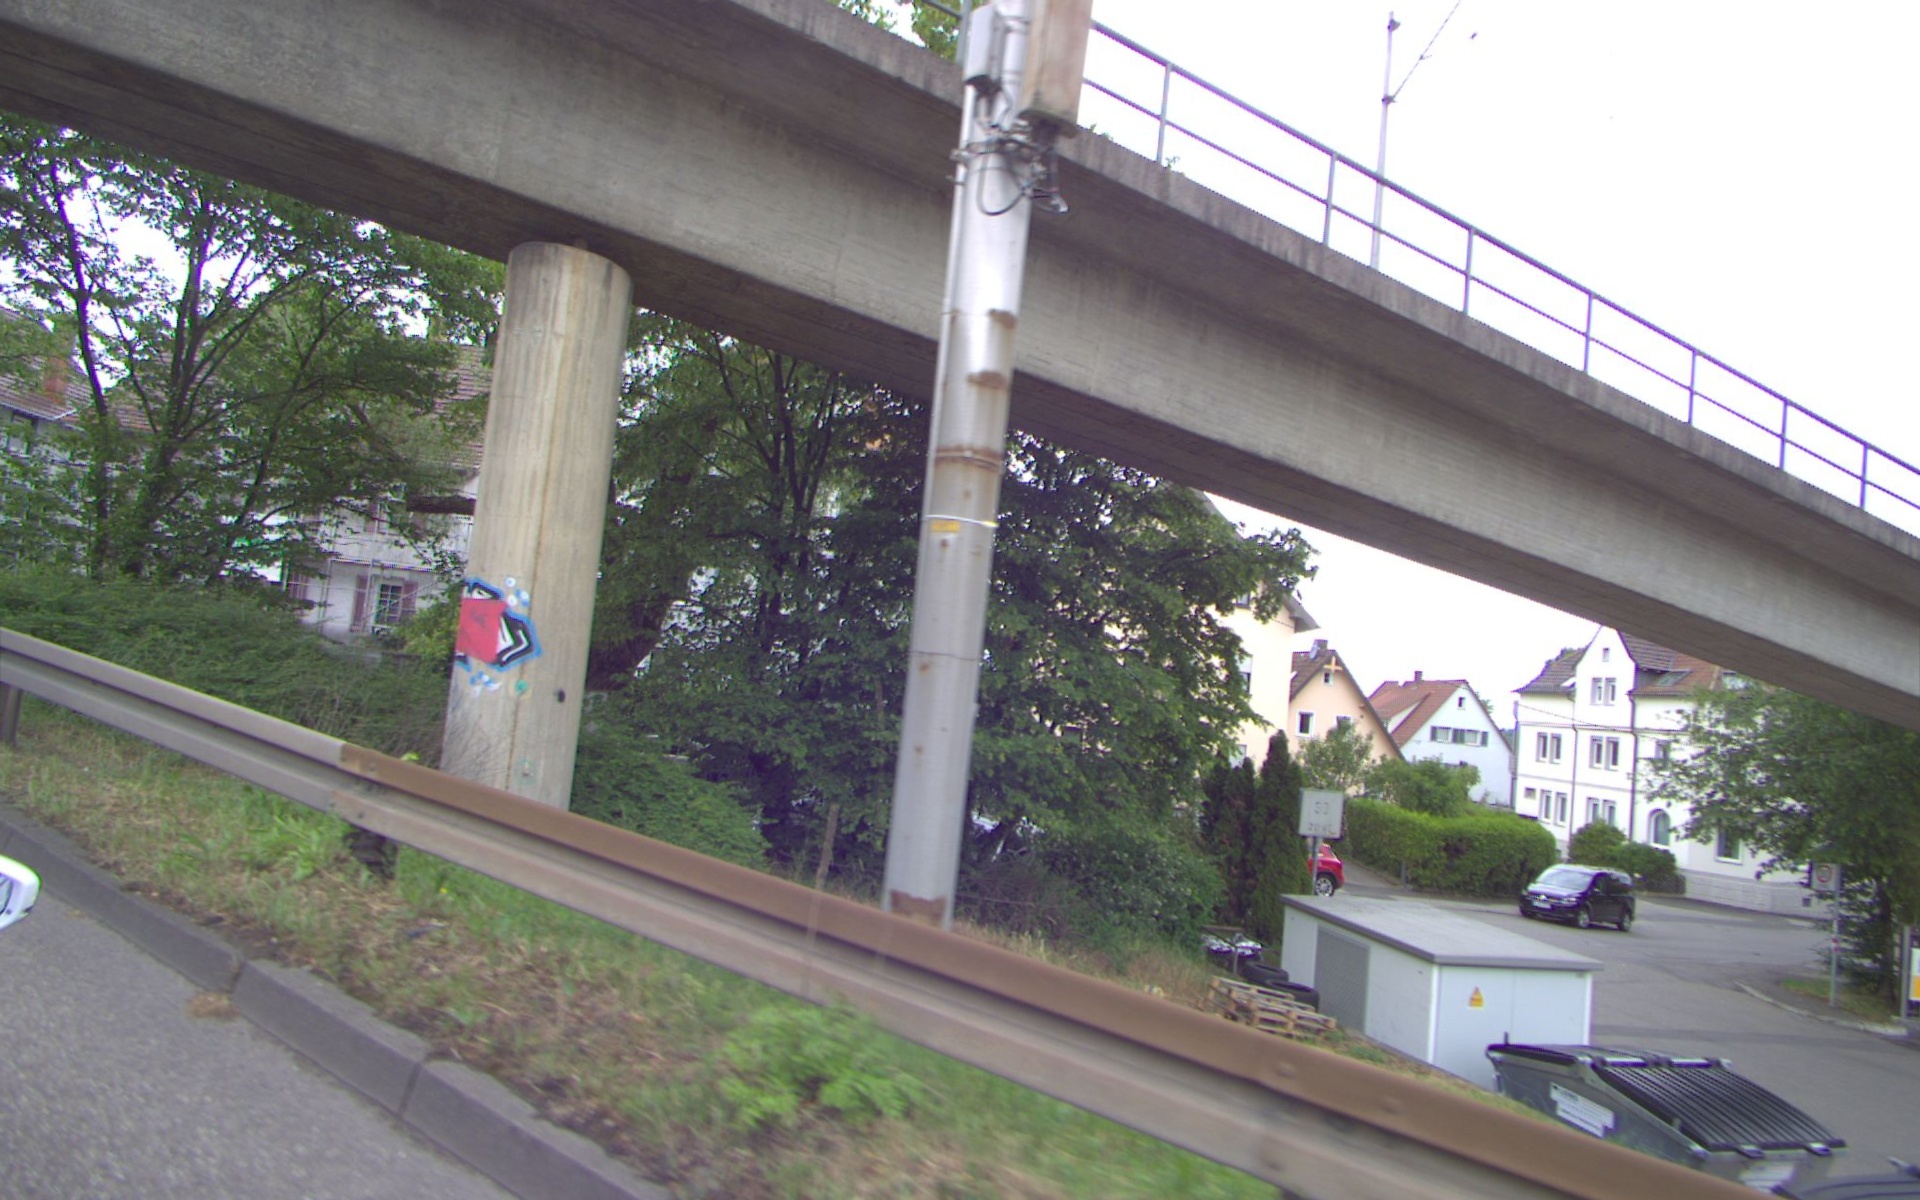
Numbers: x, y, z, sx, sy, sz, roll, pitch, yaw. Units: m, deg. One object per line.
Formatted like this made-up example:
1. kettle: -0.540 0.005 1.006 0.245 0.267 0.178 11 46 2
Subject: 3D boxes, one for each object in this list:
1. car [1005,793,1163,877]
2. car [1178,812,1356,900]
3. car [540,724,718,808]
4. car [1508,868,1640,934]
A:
1. car: 3.221 6.161 26.535 3.705 1.408 1.653 10 -6 -5
2. car: 8.360 6.968 27.495 4.233 1.535 1.626 10 -5 -8
3. car: -8.565 4.310 26.284 3.960 1.461 1.627 10 -5 -5
4. car: 18.881 9.242 30.919 3.542 1.361 1.598 12 -8 -21
